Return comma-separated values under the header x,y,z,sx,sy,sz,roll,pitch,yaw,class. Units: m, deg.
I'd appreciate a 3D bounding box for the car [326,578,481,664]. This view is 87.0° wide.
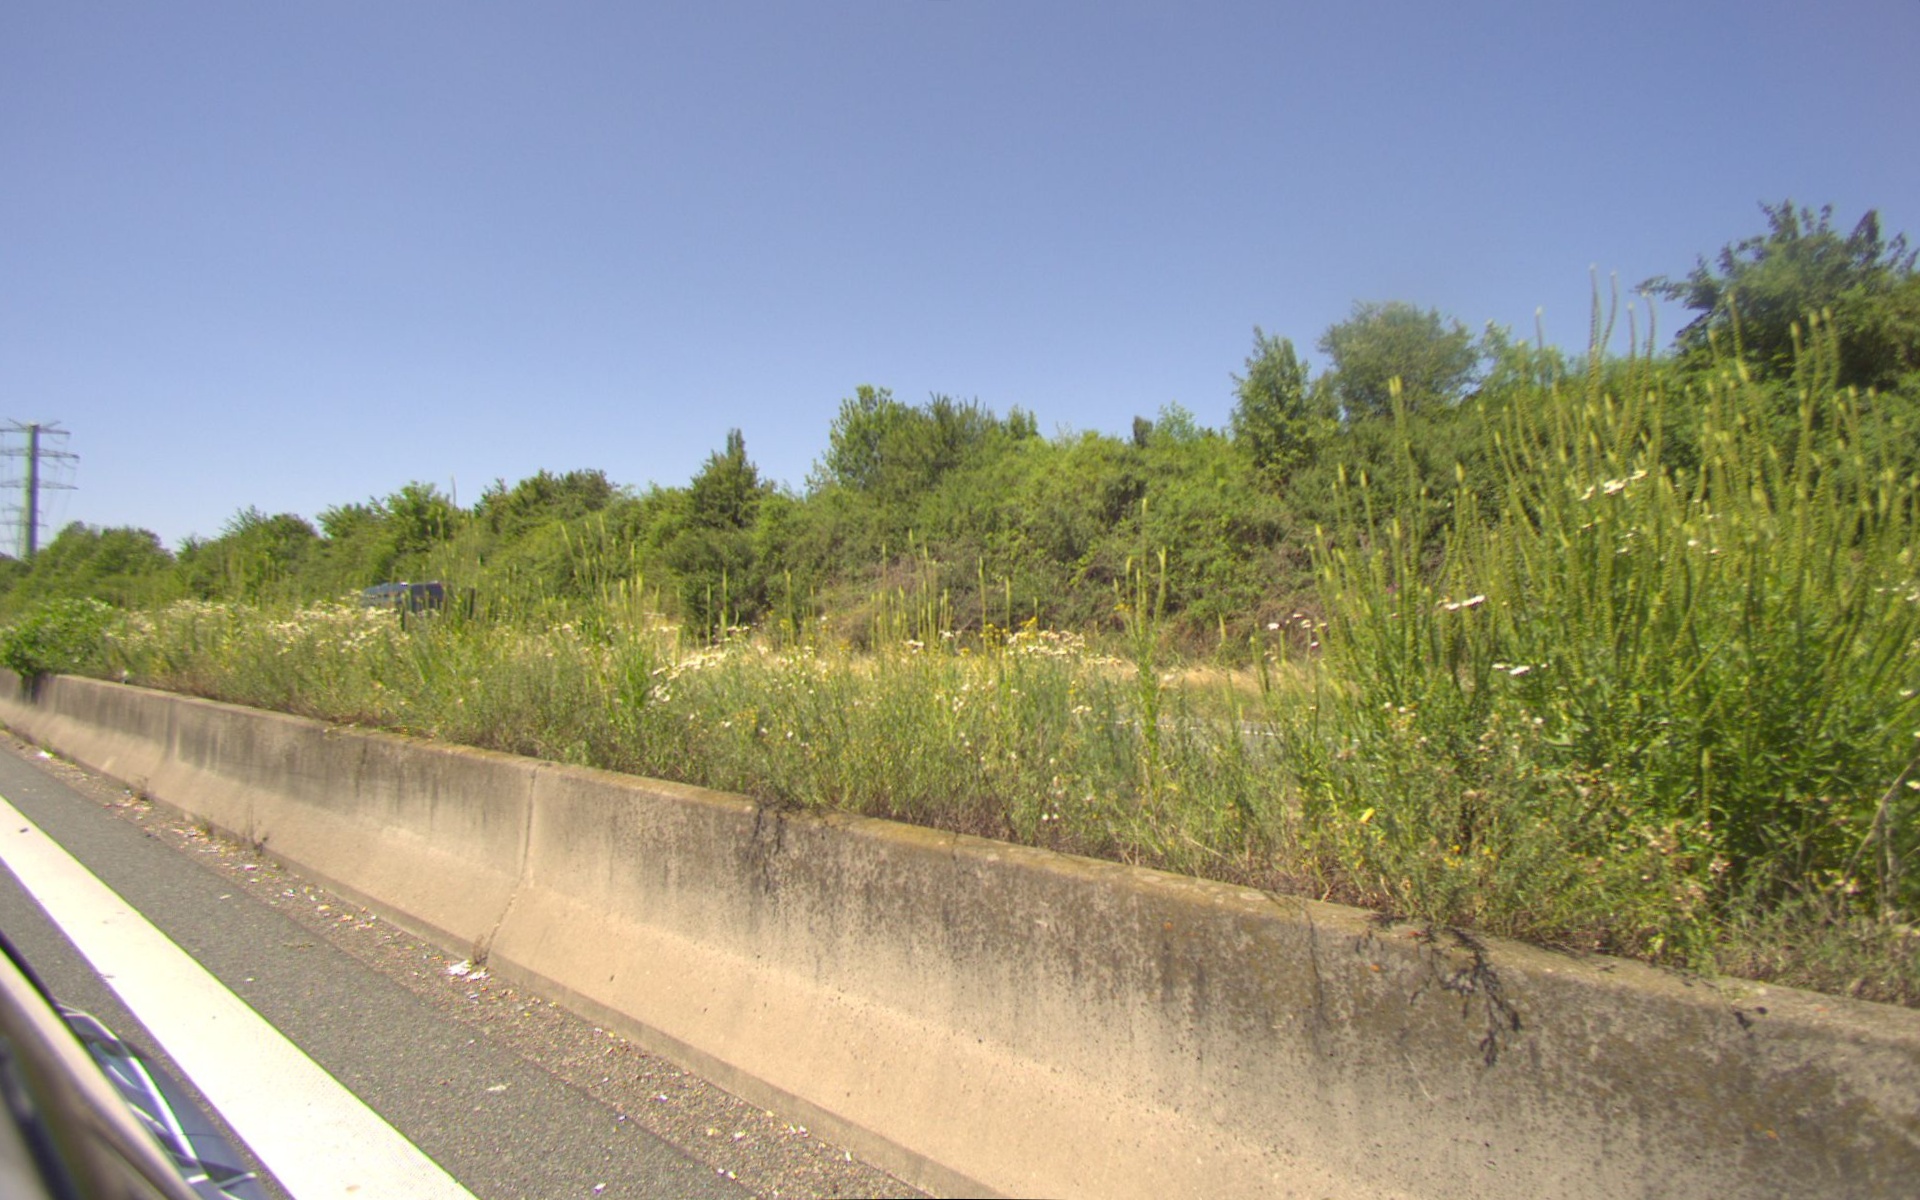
x,y,z,sx,sy,sz,roll,pitch,yaw,class
-15.159,0.586,27.432,5.226,2.107,1.973,-1,-2,41,car
